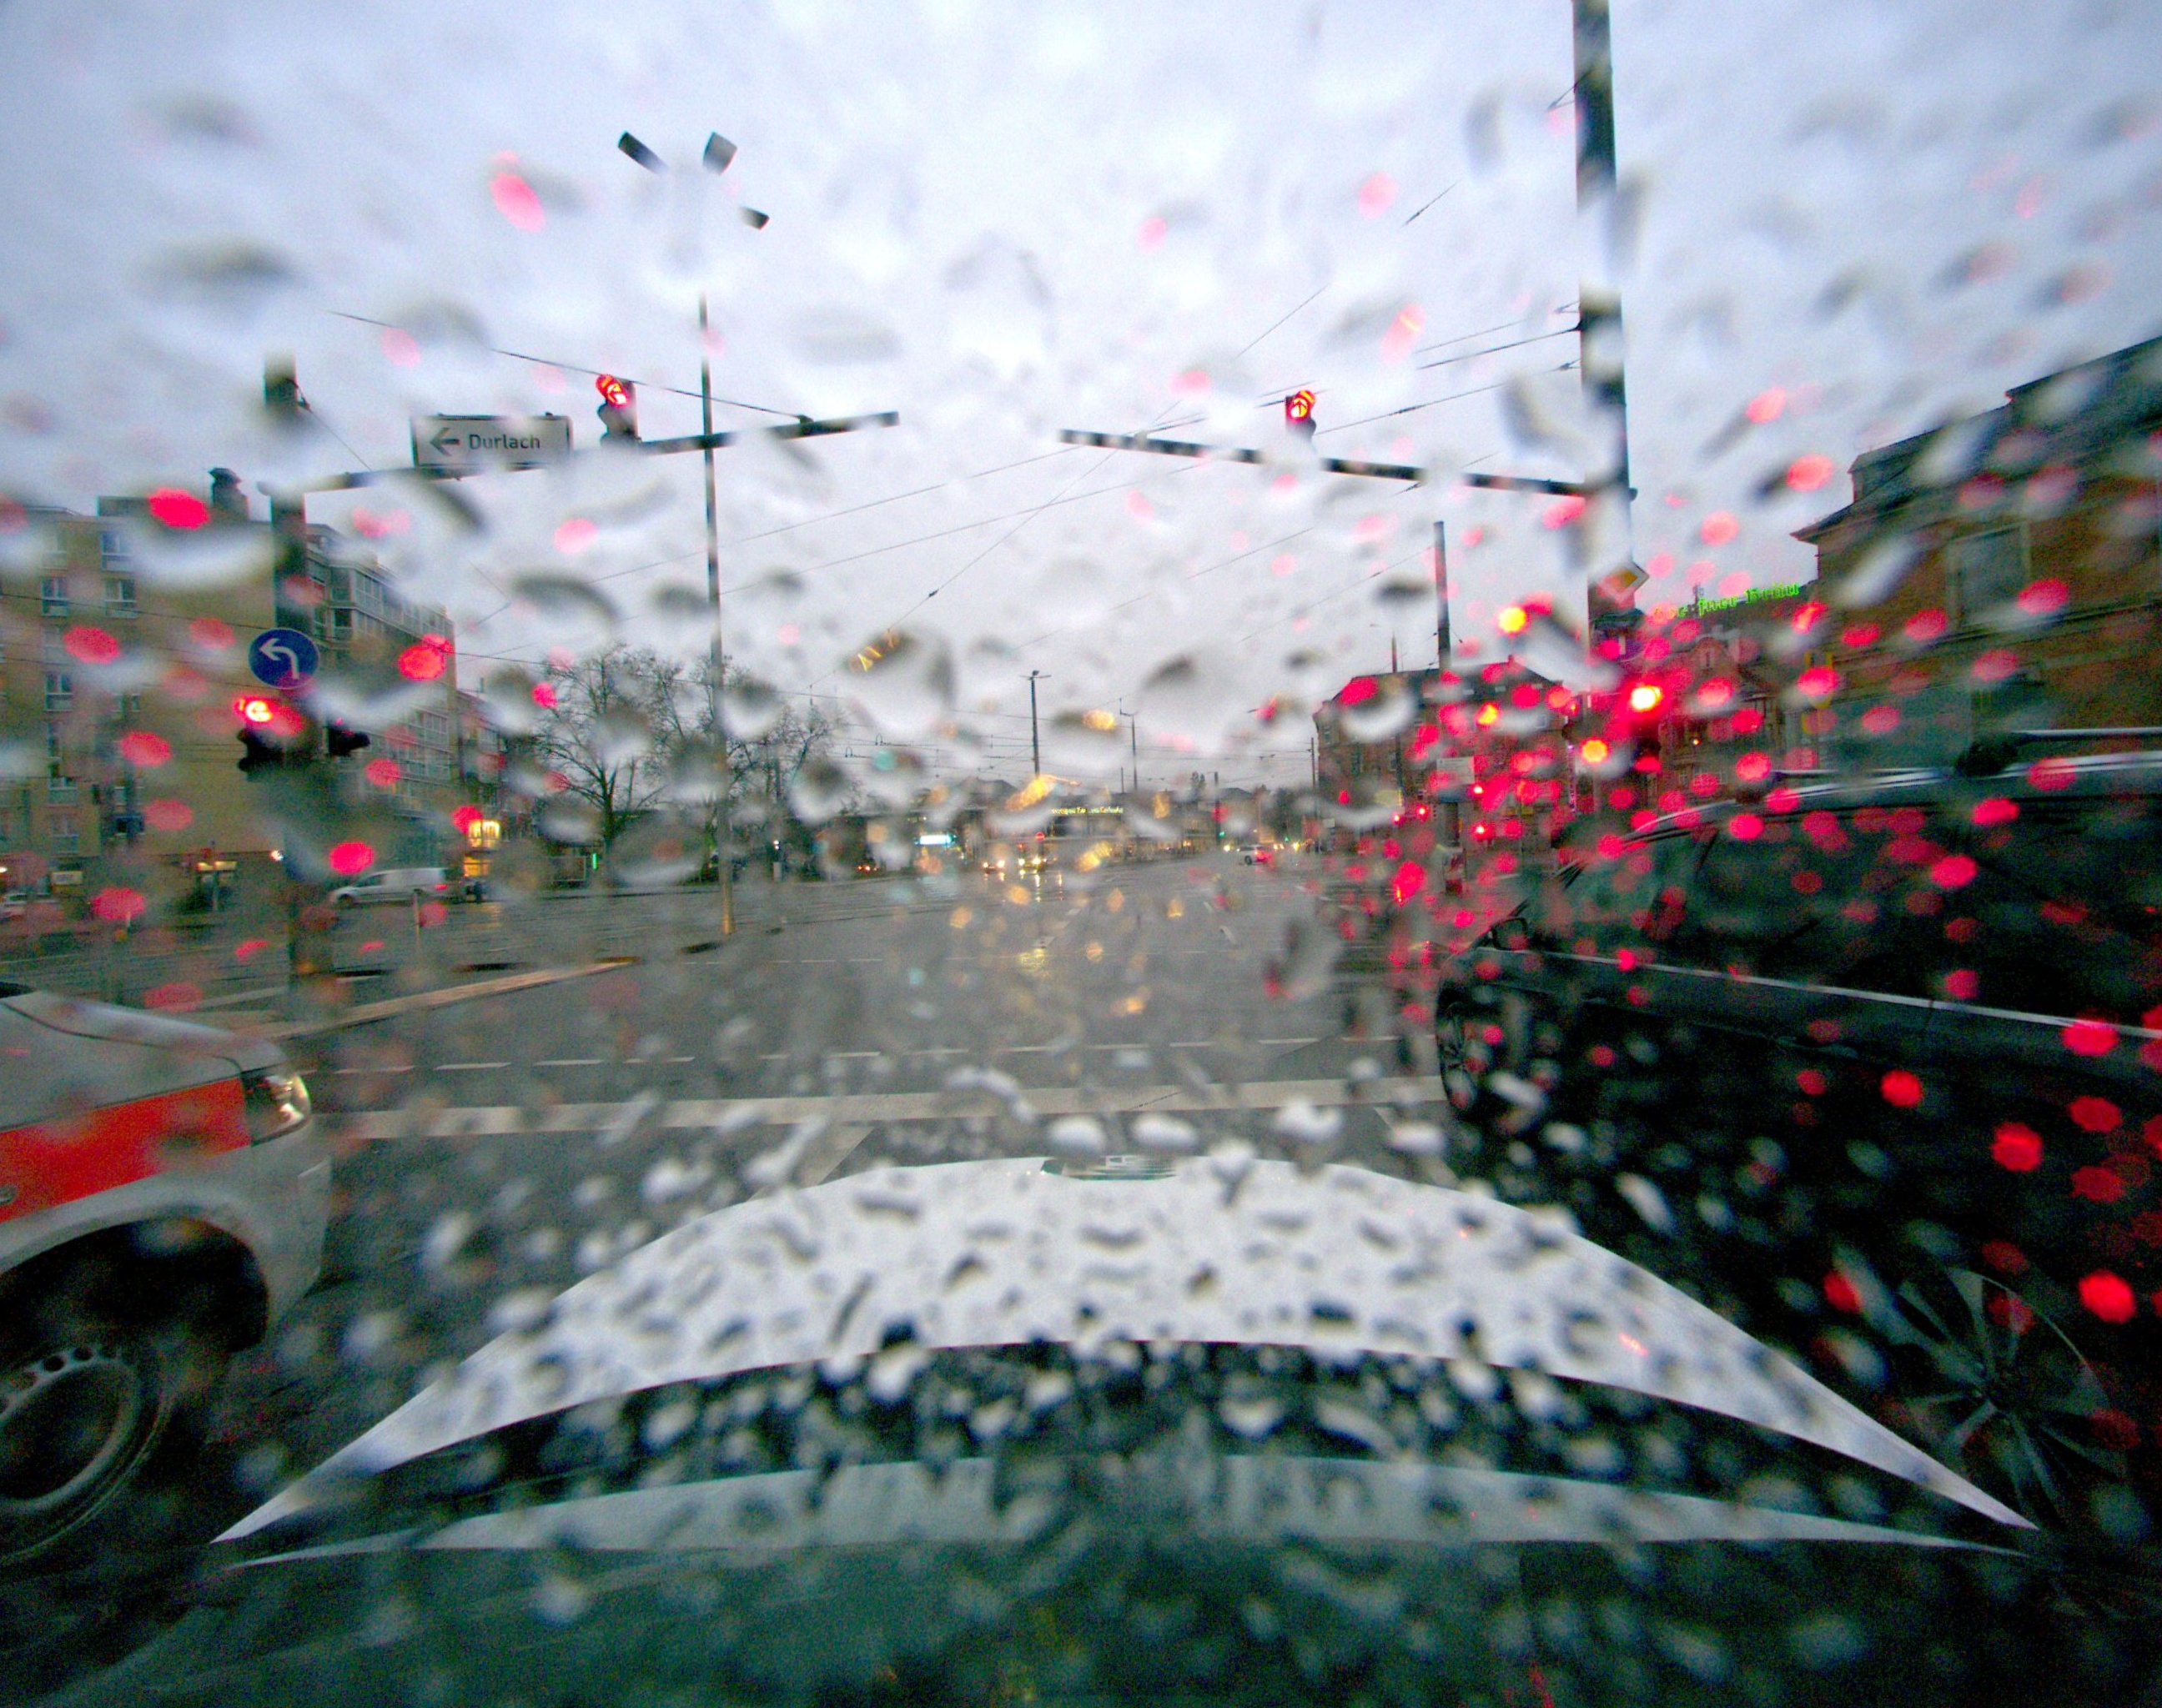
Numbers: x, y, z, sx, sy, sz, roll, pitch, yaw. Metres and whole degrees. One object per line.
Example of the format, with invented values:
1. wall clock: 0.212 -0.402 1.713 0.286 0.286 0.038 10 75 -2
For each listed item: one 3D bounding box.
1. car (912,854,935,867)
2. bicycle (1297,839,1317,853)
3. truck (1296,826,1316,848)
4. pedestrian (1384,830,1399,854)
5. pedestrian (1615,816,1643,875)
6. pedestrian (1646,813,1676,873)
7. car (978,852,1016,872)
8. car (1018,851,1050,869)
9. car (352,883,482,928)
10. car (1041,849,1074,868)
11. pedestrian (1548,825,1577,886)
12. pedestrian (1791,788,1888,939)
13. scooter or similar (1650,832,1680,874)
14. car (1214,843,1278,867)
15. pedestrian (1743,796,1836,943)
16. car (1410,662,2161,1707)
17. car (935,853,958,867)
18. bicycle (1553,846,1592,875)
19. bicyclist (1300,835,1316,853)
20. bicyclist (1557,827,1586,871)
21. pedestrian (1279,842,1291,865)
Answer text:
1. car: -19.757 0.810 102.410 1.854 1.601 4.004 -3 0 4
2. bicycle: 23.420 -0.859 84.475 0.699 1.376 2.189 -2 0 -26
3. truck: 29.595 -2.204 106.963 1.977 2.691 5.140 -3 0 19
4. pedestrian: 26.671 -1.008 69.970 0.732 2.013 0.782 -2 -1 -27
5. pedestrian: 18.582 -0.283 27.604 0.669 1.950 0.666 -3 0 30
6. pedestrian: 19.322 -0.379 27.121 0.669 1.950 0.666 -3 0 29
7. car: -6.607 0.609 64.334 1.801 1.446 4.013 -3 0 11
8. car: -4.040 0.495 70.946 1.801 1.446 4.013 -3 0 11
9. car: -31.946 2.459 39.350 4.420 2.014 1.897 0 -4 -22
10. car: -1.874 0.362 66.876 1.801 1.446 4.013 -3 0 11
11. pedestrian: 15.681 0.048 26.514 0.669 1.950 0.681 -3 -1 38
12. pedestrian: 10.530 0.118 11.346 0.800 2.013 0.765 -1 2 26
13. scooter or similar: 18.966 -0.048 26.456 0.669 1.317 0.832 -3 0 29
14. car: 12.137 0.098 60.097 1.747 1.657 4.763 -2 0 -34
15. pedestrian: 9.707 0.186 11.192 0.800 1.929 0.765 -1 2 26
16. car: 2.824 0.538 2.876 1.770 1.800 4.429 -1 1 4
17. car: -16.864 0.720 102.237 1.854 1.601 4.004 -3 0 4
18. bicycle: 18.233 0.251 30.198 2.025 0.980 0.687 -3 0 -43
19. bicyclist: 23.517 -1.065 84.256 1.052 1.769 1.063 -3 0 -27
20. bicyclist: 18.161 -0.191 30.141 0.783 1.575 0.687 -2 0 -43
21. pedestrian: 16.651 -0.068 66.603 0.595 1.840 0.612 -3 0 -33
